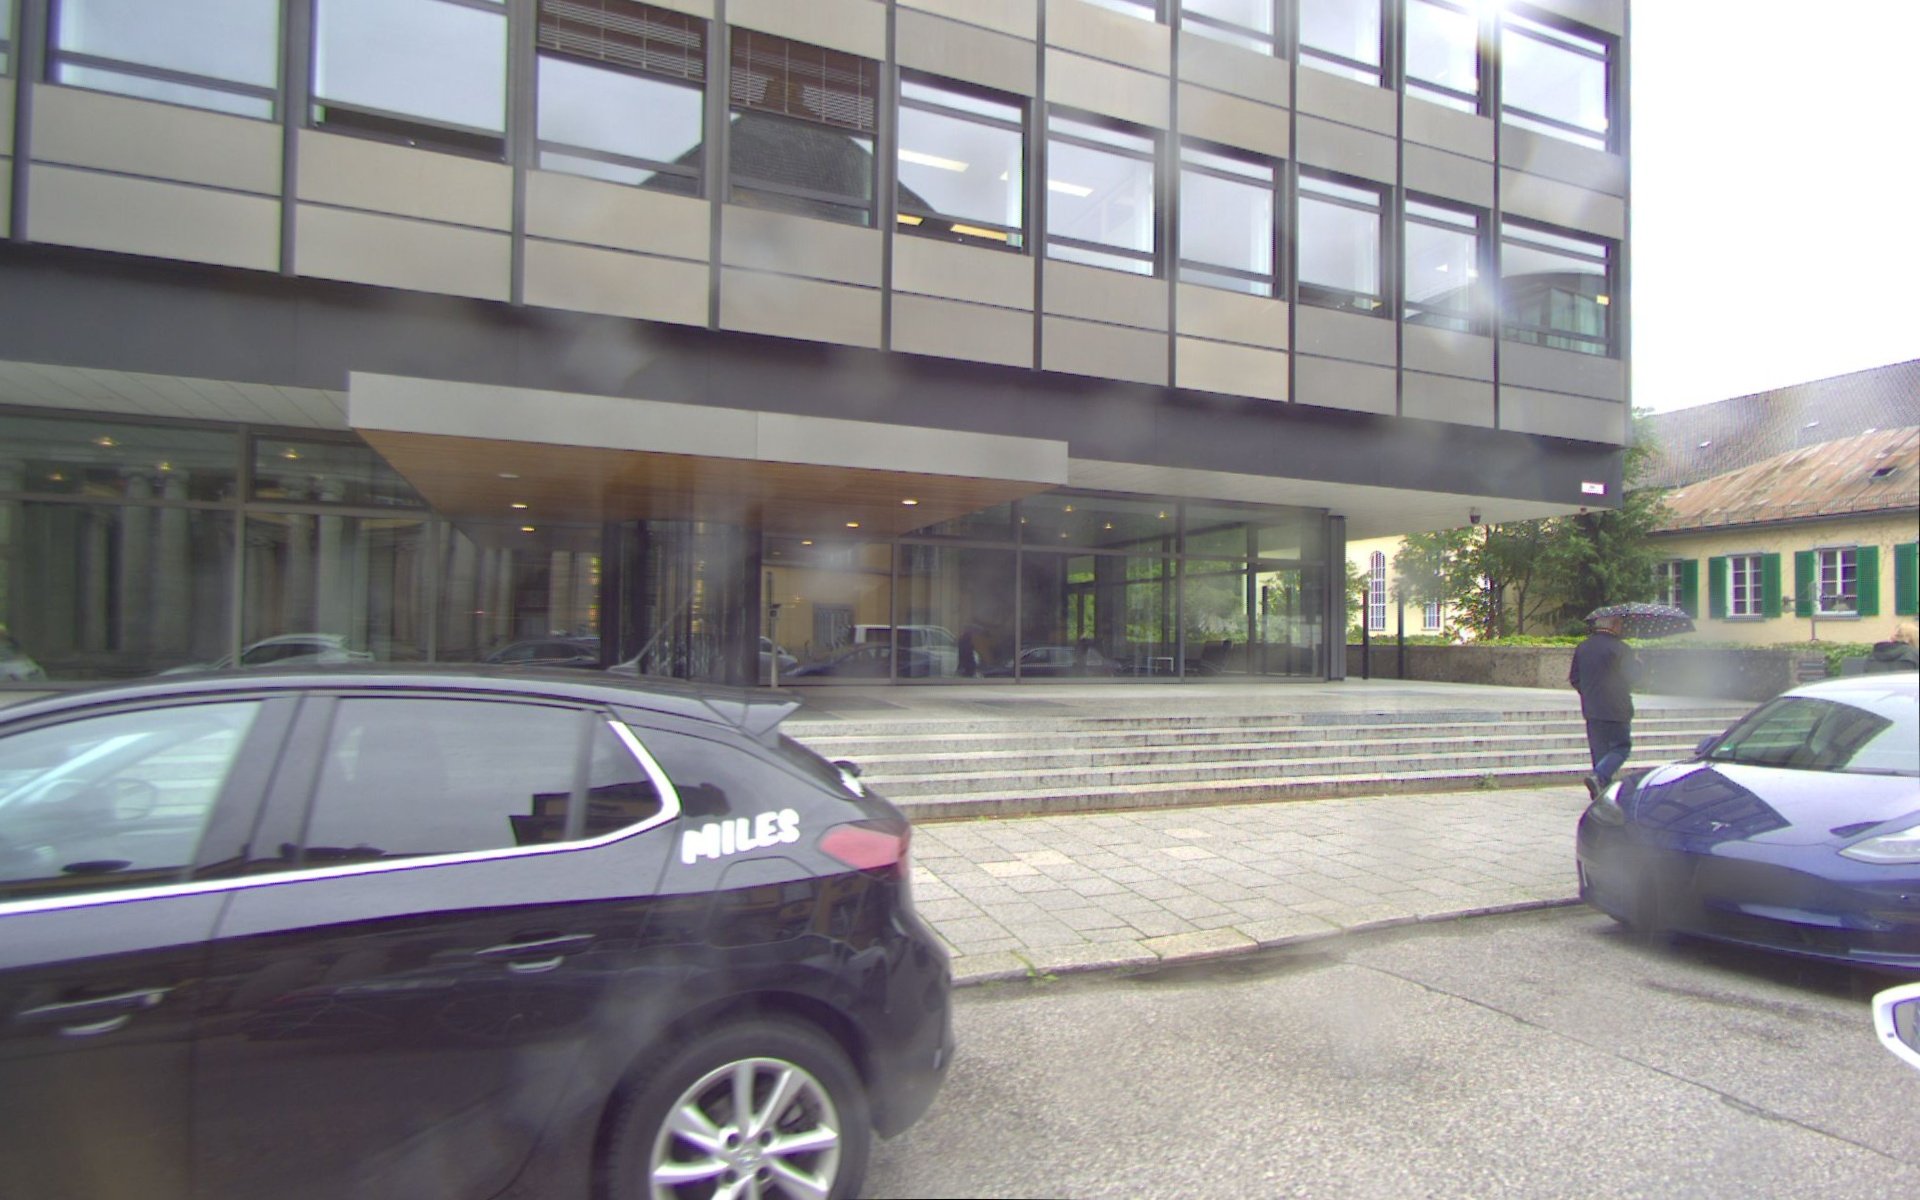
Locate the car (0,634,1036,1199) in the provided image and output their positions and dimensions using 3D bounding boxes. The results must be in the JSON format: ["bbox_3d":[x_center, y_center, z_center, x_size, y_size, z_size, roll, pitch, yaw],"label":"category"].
[{"bbox_3d":[-2.058,0.861,2.595,4.173,1.480,1.738,1,-4,-21],"label":"car"}]

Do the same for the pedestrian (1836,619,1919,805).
[{"bbox_3d":[9.406,1.088,10.088,0.944,1.772,0.747,2,-2,-38],"label":"pedestrian"}]

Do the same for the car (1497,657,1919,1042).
[{"bbox_3d":[5.546,1.084,5.592,4.849,1.458,1.919,2,-4,-24],"label":"car"}]

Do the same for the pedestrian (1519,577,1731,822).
[{"bbox_3d":[6.140,0.887,9.332,1.204,2.081,1.133,1,-3,-23],"label":"pedestrian"}]
